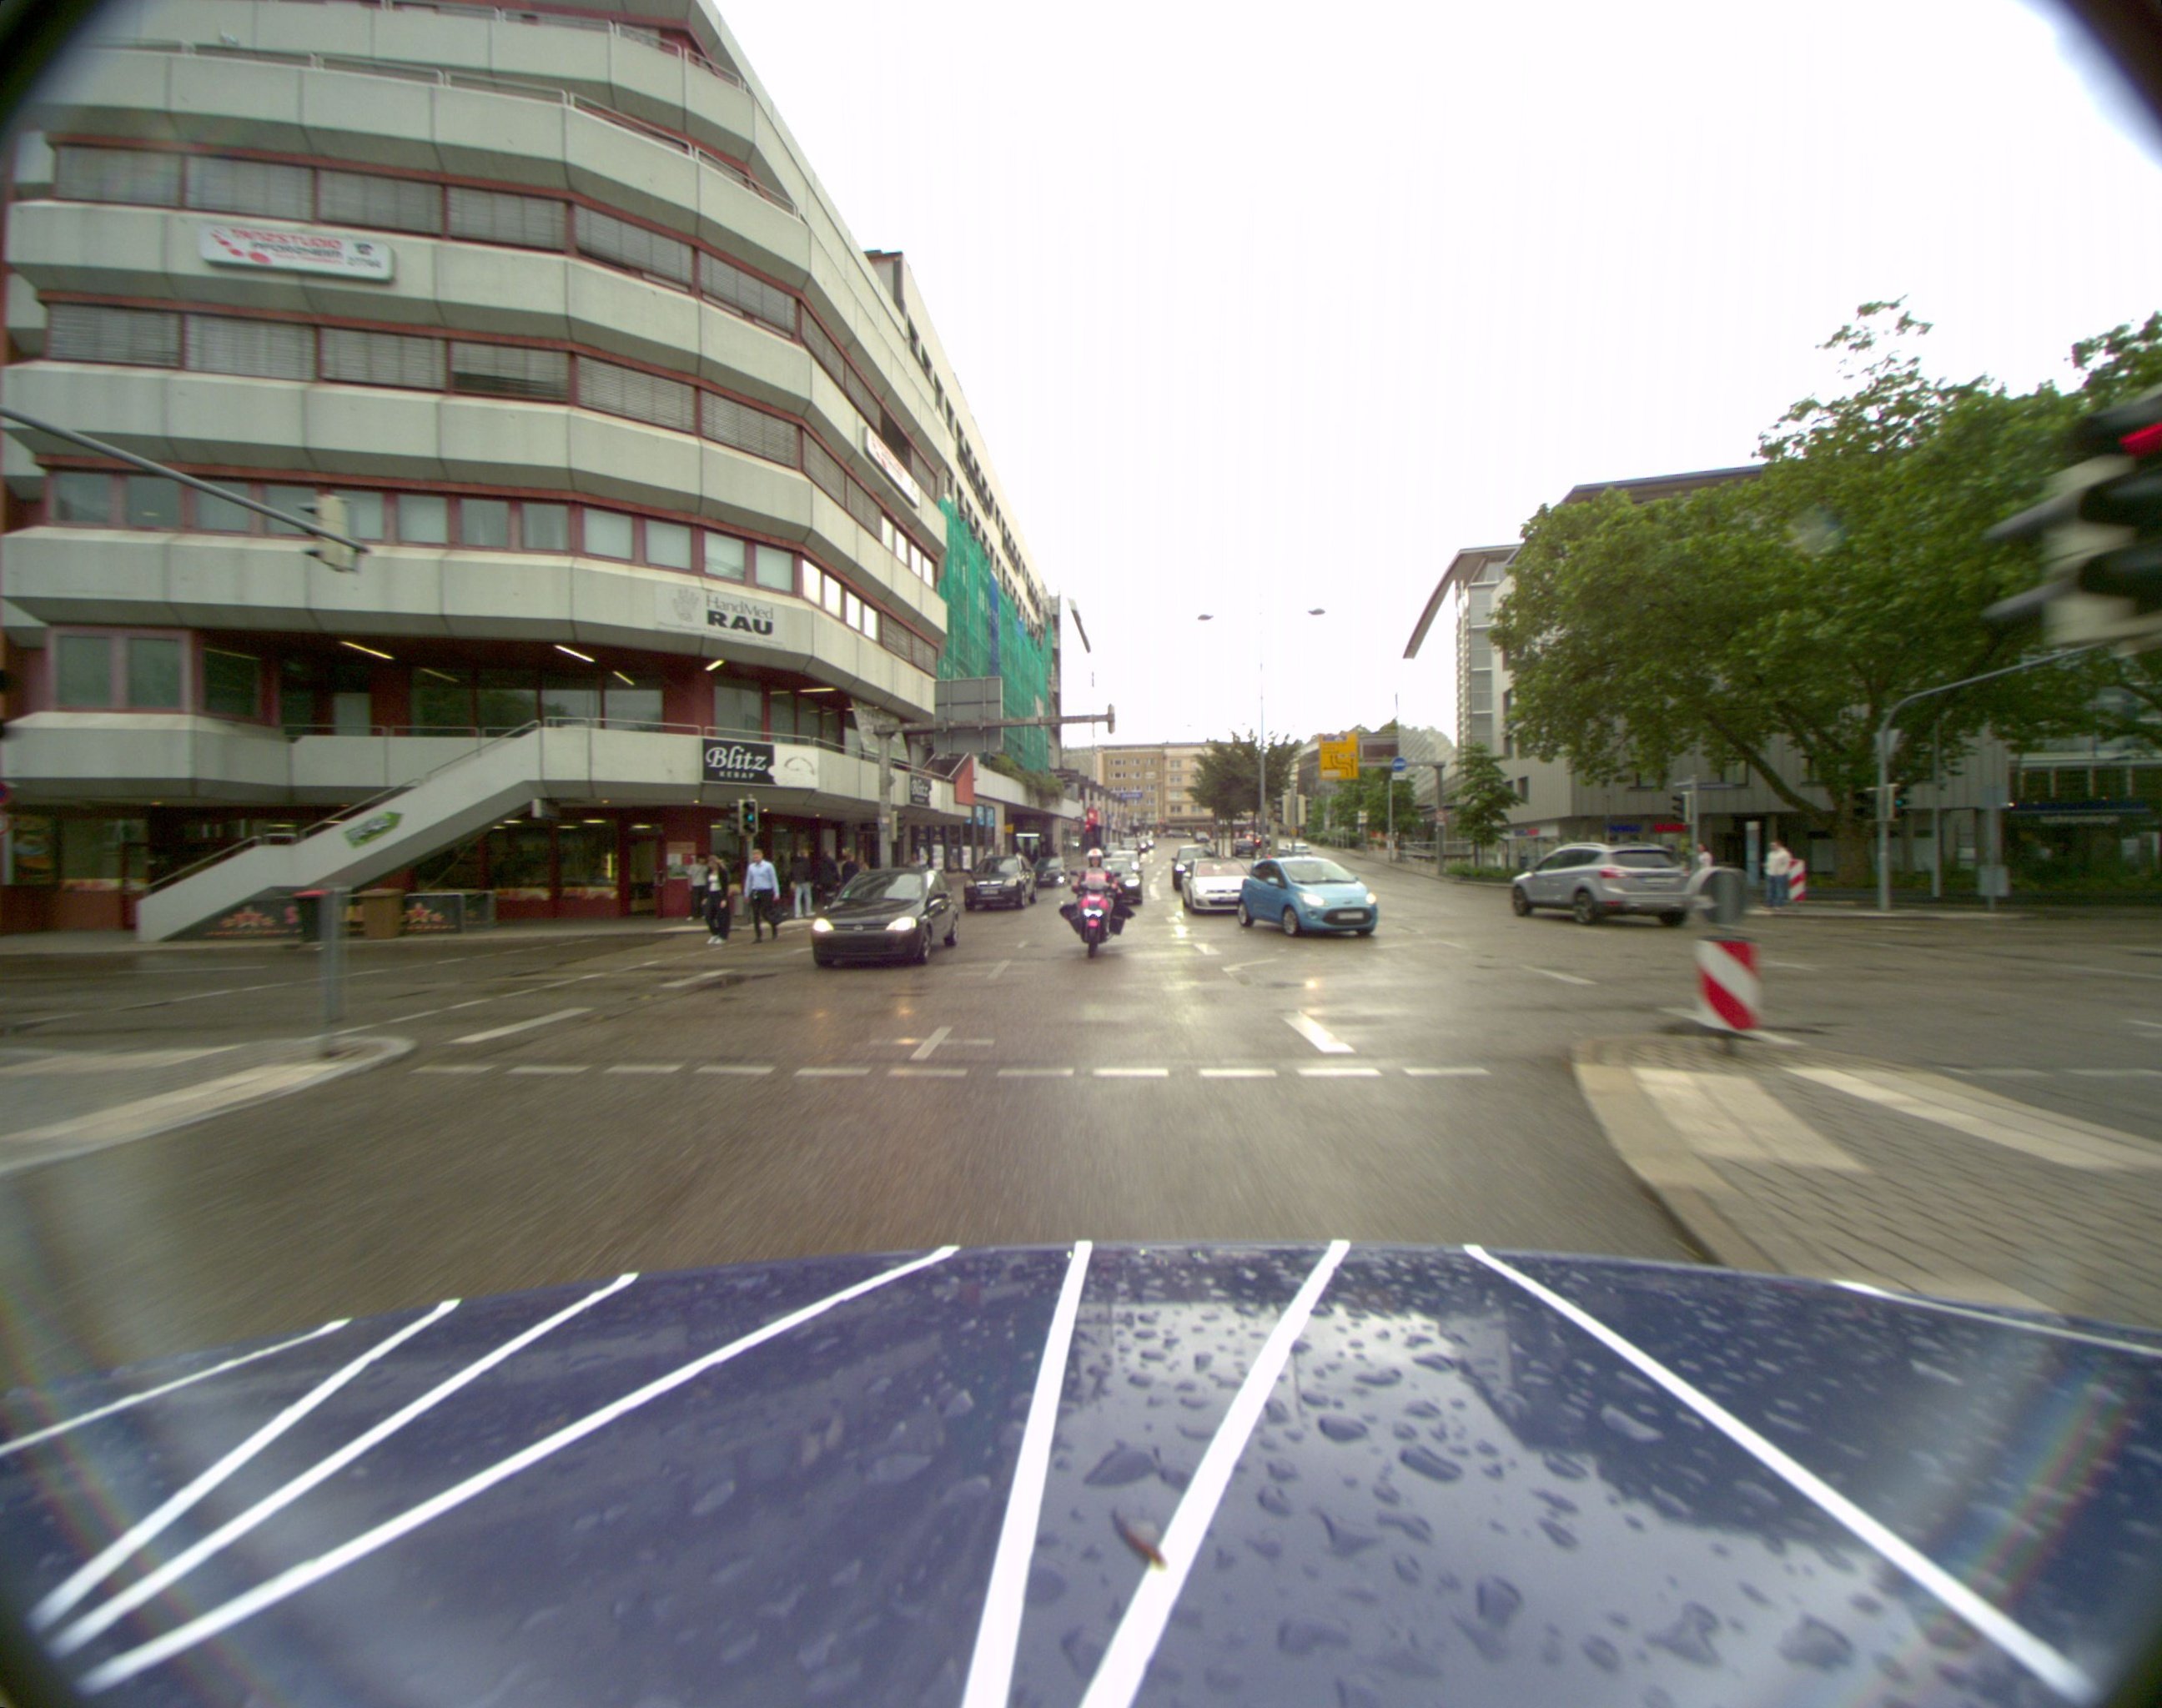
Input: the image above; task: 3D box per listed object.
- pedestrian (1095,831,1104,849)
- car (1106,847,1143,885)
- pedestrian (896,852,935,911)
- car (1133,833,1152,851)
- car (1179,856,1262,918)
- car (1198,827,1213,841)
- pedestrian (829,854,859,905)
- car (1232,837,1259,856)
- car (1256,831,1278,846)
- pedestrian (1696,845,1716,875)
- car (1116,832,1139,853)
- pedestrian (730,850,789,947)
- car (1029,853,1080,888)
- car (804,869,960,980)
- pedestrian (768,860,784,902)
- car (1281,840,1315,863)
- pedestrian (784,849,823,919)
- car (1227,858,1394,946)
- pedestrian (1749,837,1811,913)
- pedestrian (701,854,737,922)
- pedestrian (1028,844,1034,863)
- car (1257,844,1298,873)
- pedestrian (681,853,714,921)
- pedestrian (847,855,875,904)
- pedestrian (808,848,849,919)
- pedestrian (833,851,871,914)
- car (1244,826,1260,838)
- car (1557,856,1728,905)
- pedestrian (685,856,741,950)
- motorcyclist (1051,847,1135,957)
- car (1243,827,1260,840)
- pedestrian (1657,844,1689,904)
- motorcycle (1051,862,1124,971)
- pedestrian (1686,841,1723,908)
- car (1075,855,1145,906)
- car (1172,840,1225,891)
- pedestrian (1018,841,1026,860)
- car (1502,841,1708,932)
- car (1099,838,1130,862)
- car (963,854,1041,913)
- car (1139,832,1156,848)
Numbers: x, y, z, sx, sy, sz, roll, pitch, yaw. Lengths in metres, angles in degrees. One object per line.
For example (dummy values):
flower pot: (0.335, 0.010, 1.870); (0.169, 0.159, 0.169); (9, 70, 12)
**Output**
pedestrian: (1.873, -1.416, 77.470); (0.707, 1.772, 0.641); (4, 9, 8)
car: (2.294, 0.568, 39.049); (1.631, 1.732, 3.600); (0, 3, 7)
pedestrian: (-5.370, 0.878, 24.679); (0.897, 1.770, 0.805); (4, 3, 9)
car: (6.457, -1.247, 79.338); (1.831, 1.727, 4.000); (0, 3, 8)
car: (3.737, 0.832, 20.975); (1.769, 1.401, 4.000); (-2, 1, 4)
car: (16.670, -2.688, 101.782); (1.831, 1.727, 4.000); (0, 3, 8)
pedestrian: (-8.117, 0.846, 26.023); (0.589, 1.696, 0.971); (1, 1, 9)
car: (13.585, -0.674, 62.879); (1.717, 1.470, 3.958); (1, 1, 6)
car: (18.469, -1.530, 75.627); (1.621, 1.483, 3.880); (1, 1, 6)
pedestrian: (34.705, 0.323, 42.207); (0.622, 1.647, 0.633); (0, 3, 12)
car: (4.309, -1.081, 69.923); (1.831, 1.727, 4.000); (0, 3, 8)
pedestrian: (-6.327, 0.851, 14.982); (0.623, 1.837, 0.848); (-1, 3, 13)
car: (-1.278, 0.793, 38.044); (1.681, 1.422, 3.778); (-2, 3, 11)
car: (-3.009, 1.004, 12.202); (1.596, 1.432, 3.627); (-1, 0, -1)
pedestrian: (-11.274, 0.991, 28.070); (0.460, 1.479, 0.508); (-2, 3, -32)
car: (15.202, -0.188, 53.301); (1.675, 1.506, 3.644); (1, 1, 6)
pedestrian: (-7.633, 0.818, 20.923); (0.734, 1.885, 0.676); (-1, 2, 5)
car: (4.376, 0.832, 15.086); (1.701, 1.465, 3.687); (-1, 0, -9)
pedestrian: (18.050, 0.526, 19.631); (0.861, 1.895, 0.826); (-2, 1, -18)
pedestrian: (-9.546, 0.890, 20.045); (0.596, 1.753, 0.493); (-1, 3, 7)
pedestrian: (-3.895, -0.055, 59.668); (0.429, 1.481, 0.524); (-1, 3, -7)
car: (10.950, 0.263, 42.575); (1.626, 1.546, 3.661); (-1, 0, 5)
pedestrian: (-10.144, 0.869, 20.114); (0.527, 1.753, 0.511); (-2, 3, 0)
pedestrian: (-7.510, 0.863, 25.986); (0.575, 1.653, 0.941); (1, 1, 9)
pedestrian: (-6.926, 0.787, 20.879); (0.760, 1.891, 0.790); (-1, 2, 6)
pedestrian: (-6.764, 0.827, 22.479); (0.750, 1.770, 0.888); (-2, 2, 3)
car: (24.211, -3.164, 107.762); (1.997, 1.501, 4.186); (-1, 3, 10)
car: (18.642, 0.825, 25.358); (4.413, 1.388, 1.937); (1, 2, 39)
pedestrian: (-7.112, 0.934, 14.708); (0.623, 1.764, 0.677); (-1, 3, 13)
motorcyclist: (0.225, 0.772, 12.596); (1.295, 1.756, 0.846); (0, 1, 7)
car: (20.836, -2.543, 93.112); (1.628, 1.430, 3.647); (0, 3, 6)
pedestrian: (17.584, 0.599, 22.570); (0.412, 1.753, 0.677); (-1, -1, 4)
motorcycle: (0.171, 0.882, 11.997); (0.831, 1.479, 2.867); (0, 0, 7)
pedestrian: (17.573, 0.558, 21.415); (0.447, 1.827, 0.676); (-1, 3, 2)
car: (1.076, 0.818, 25.613); (1.936, 1.511, 4.471); (-1, 0, 8)
car: (4.957, 0.418, 32.615); (1.997, 1.768, 4.886); (-3, 2, 7)
pedestrian: (-4.648, -0.261, 60.042); (0.525, 1.481, 0.428); (-2, 4, -25)
car: (11.179, 0.602, 16.651); (1.831, 1.726, 4.312); (0, 1, 5)
car: (2.658, -0.317, 59.662); (1.775, 1.575, 4.001); (-3, 3, 11)
car: (-2.471, 0.886, 24.725); (1.735, 1.669, 4.250); (-2, 0, 4)
car: (7.711, -1.619, 87.576); (1.831, 1.727, 4.000); (0, 3, 8)
